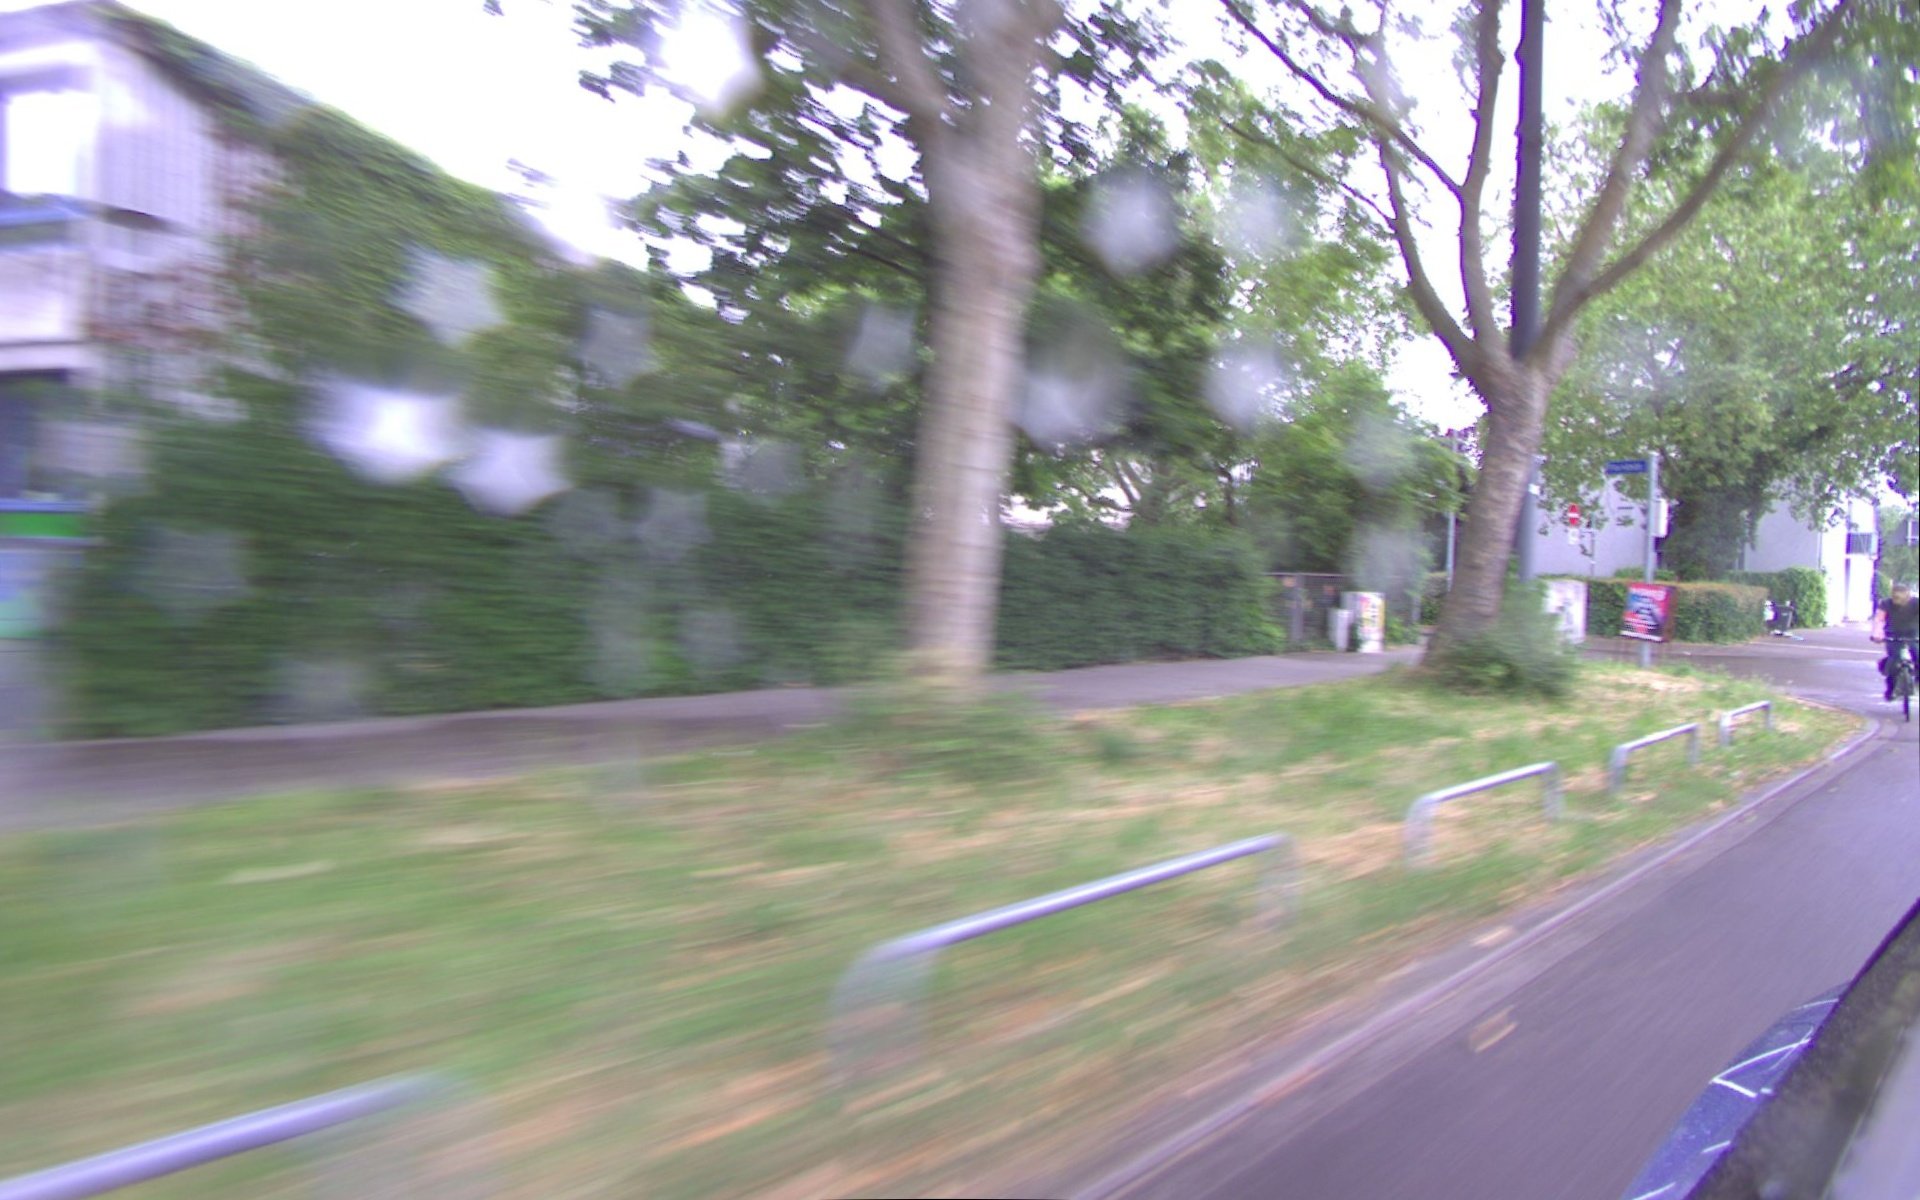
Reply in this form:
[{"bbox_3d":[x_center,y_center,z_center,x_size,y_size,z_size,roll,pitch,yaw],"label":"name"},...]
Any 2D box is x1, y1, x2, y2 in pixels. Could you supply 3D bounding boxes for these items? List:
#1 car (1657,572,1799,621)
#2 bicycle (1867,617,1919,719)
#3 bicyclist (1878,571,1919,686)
[{"bbox_3d":[26.814,-0.154,35.416,1.646,1.424,3.581,0,4,-38],"label":"car"},{"bbox_3d":[12.475,0.852,13.195,2.403,1.157,0.674,-1,4,-43],"label":"bicycle"},{"bbox_3d":[12.473,0.365,13.148,0.741,1.447,0.674,0,3,-42],"label":"bicyclist"}]
